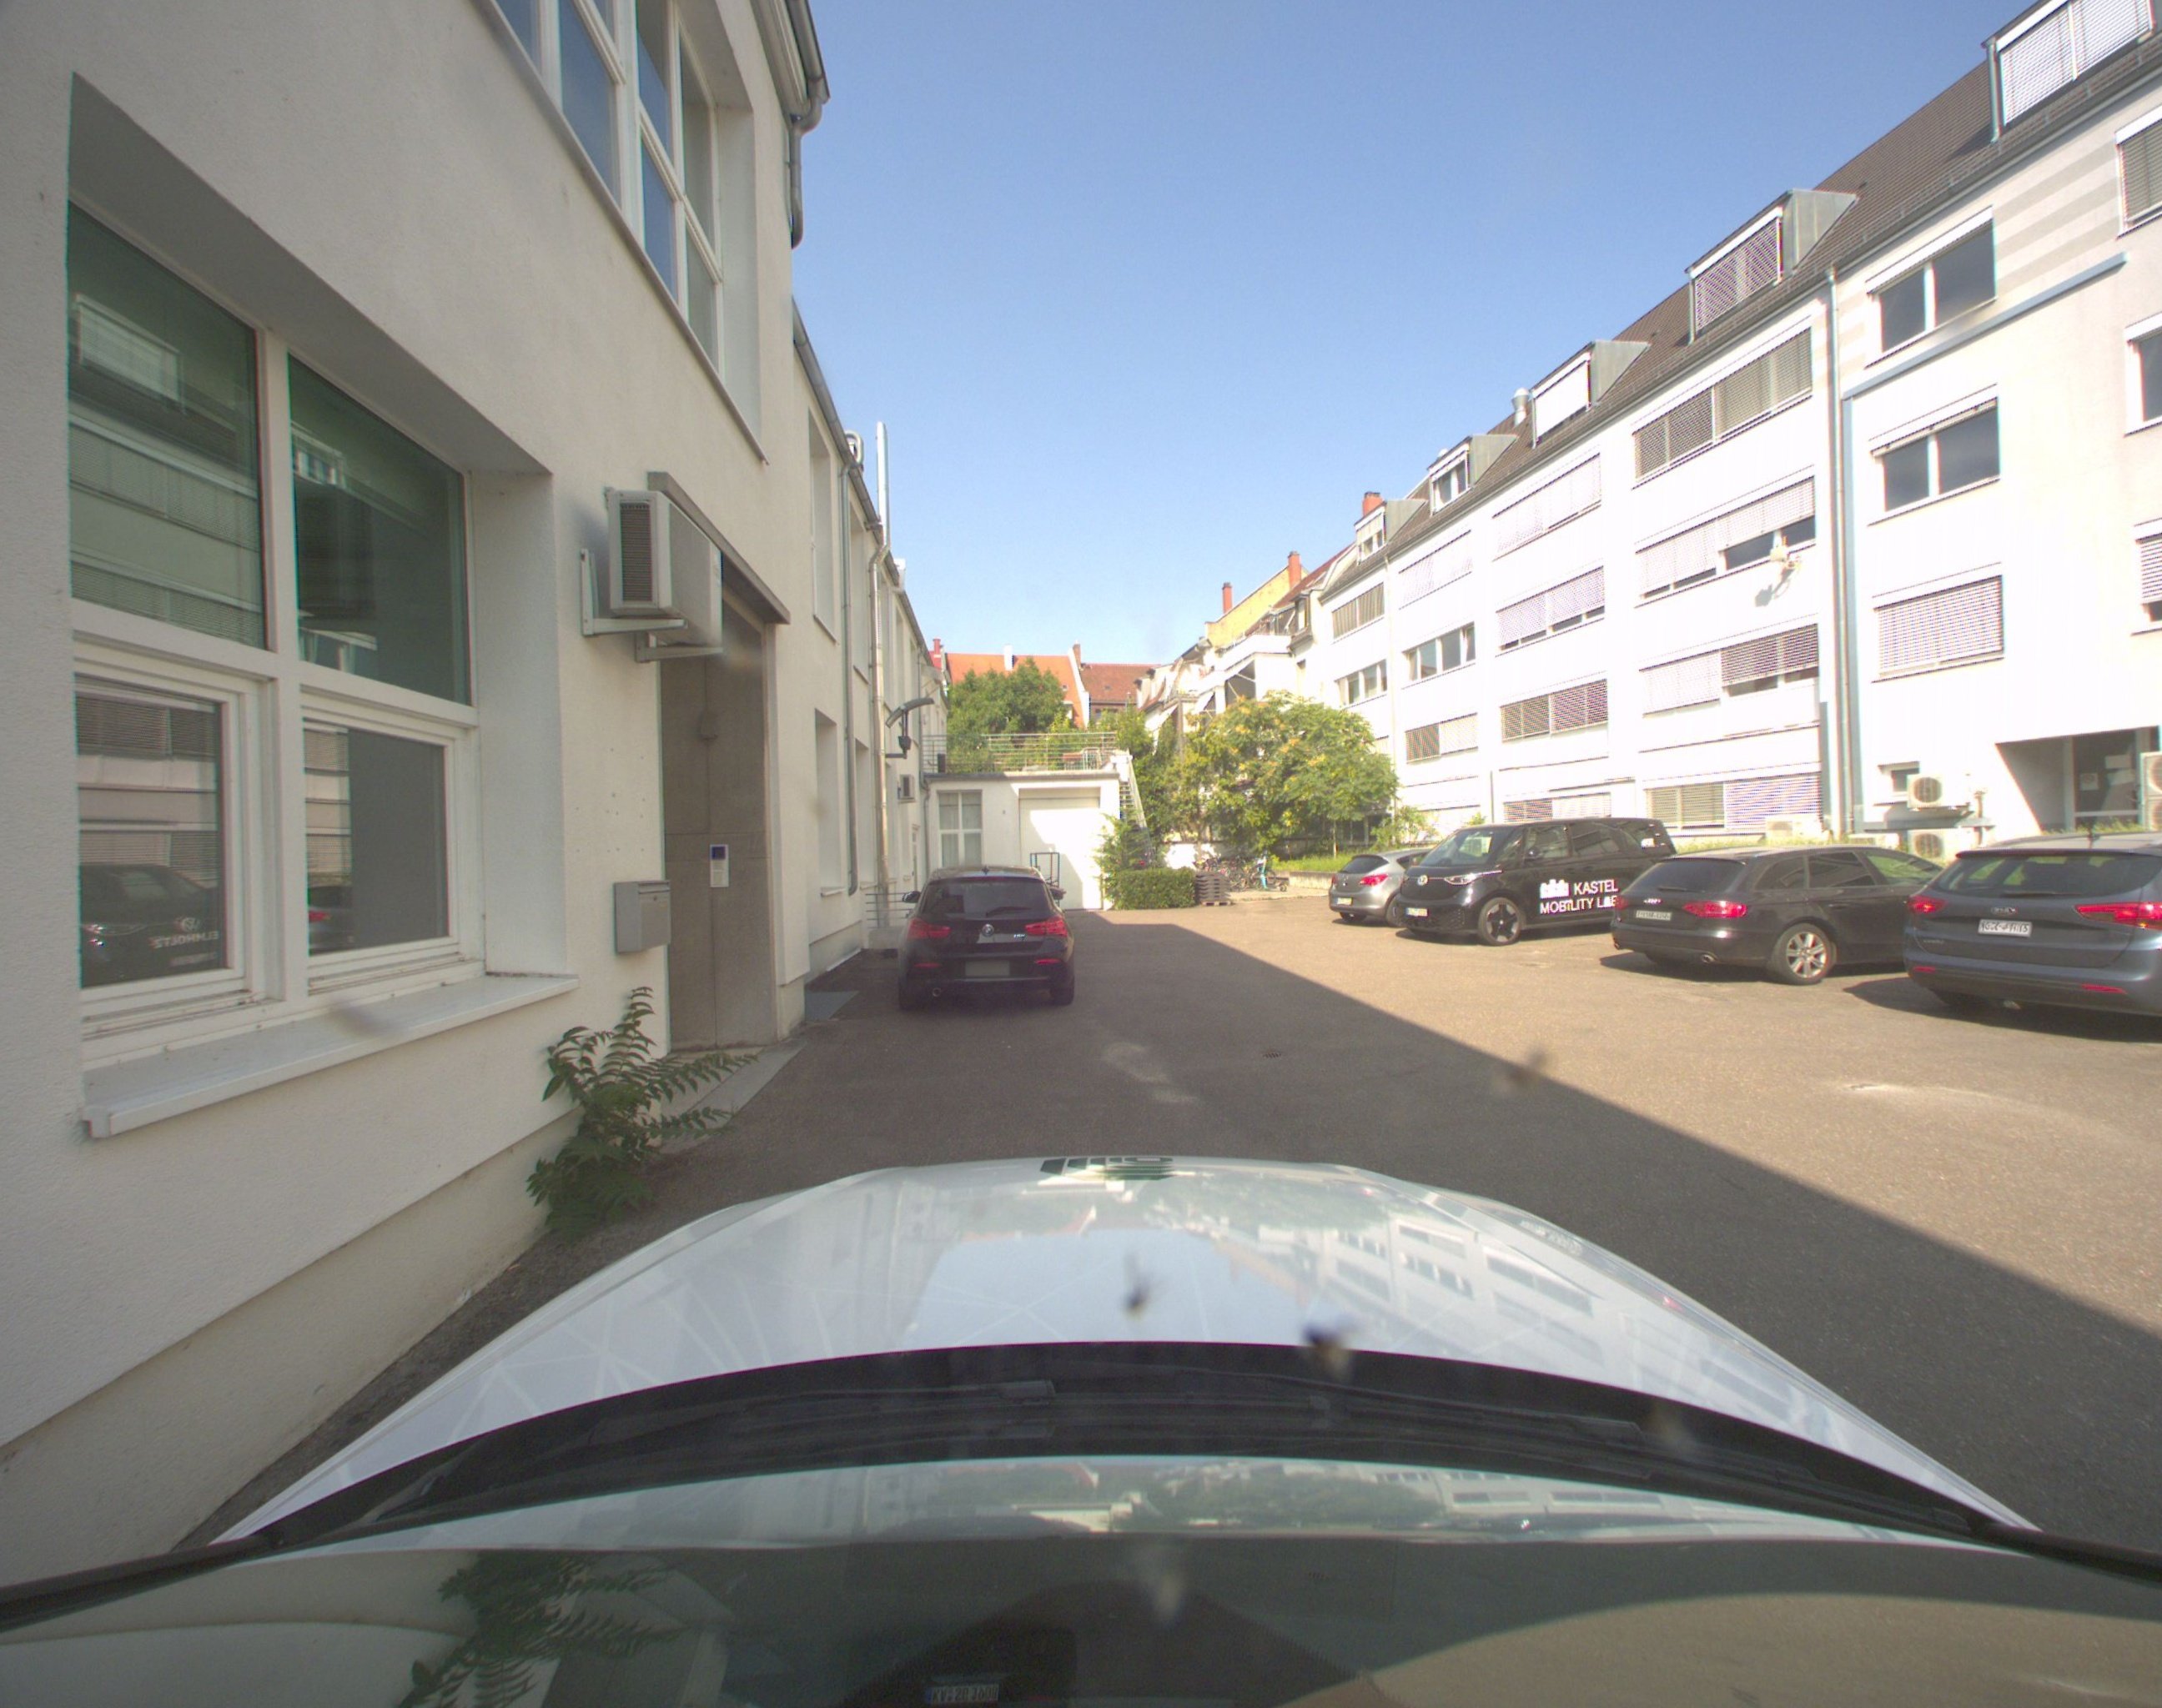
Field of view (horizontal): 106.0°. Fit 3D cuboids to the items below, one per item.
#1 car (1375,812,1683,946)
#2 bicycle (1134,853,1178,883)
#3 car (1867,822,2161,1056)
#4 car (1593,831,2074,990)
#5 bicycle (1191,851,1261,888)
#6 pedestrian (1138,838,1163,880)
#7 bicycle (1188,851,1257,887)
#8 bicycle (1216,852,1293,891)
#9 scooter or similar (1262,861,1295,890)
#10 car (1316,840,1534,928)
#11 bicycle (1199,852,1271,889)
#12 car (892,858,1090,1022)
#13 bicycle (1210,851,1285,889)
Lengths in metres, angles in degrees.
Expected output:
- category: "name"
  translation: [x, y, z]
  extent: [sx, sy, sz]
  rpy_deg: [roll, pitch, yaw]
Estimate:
- category: "car"
  translation: [7.338, 0.332, 13.463]
  extent: [4.343, 1.859, 1.905]
  rpy_deg: [-2, 0, -15]
- category: "bicycle"
  translation: [3.170, 0.570, 34.317]
  extent: [2.003, 1.143, 0.484]
  rpy_deg: [-3, 1, -37]
- category: "car"
  translation: [8.892, 0.497, 6.497]
  extent: [4.047, 1.478, 1.736]
  rpy_deg: [-2, 0, -11]
- category: "car"
  translation: [8.365, 0.549, 9.231]
  extent: [4.229, 1.437, 1.686]
  rpy_deg: [-2, 0, -8]
- category: "bicycle"
  translation: [5.173, 0.540, 29.041]
  extent: [2.408, 1.246, 0.525]
  rpy_deg: [-1, 0, -6]
- category: "pedestrian"
  translation: [2.919, 0.207, 34.404]
  extent: [0.614, 1.771, 0.851]
  rpy_deg: [-1, 0, -37]
- category: "bicycle"
  translation: [5.148, 0.542, 29.677]
  extent: [2.408, 1.246, 0.525]
  rpy_deg: [-1, 0, -6]
- category: "bicycle"
  translation: [5.736, 0.568, 26.955]
  extent: [2.408, 1.246, 0.525]
  rpy_deg: [-1, 0, -6]
- category: "scooter or similar"
  translation: [6.433, 0.698, 26.564]
  extent: [0.362, 0.924, 0.987]
  rpy_deg: [-1, 0, -43]
- category: "car"
  translation: [6.865, 0.541, 16.313]
  extent: [3.908, 1.466, 1.652]
  rpy_deg: [-2, 1, -19]
- category: "bicycle"
  translation: [5.350, 0.567, 28.337]
  extent: [2.408, 1.246, 0.525]
  rpy_deg: [-1, 0, -6]
- category: "car"
  translation: [-1.096, 0.789, 9.559]
  extent: [1.792, 1.428, 4.125]
  rpy_deg: [-1, 0, -8]
- category: "bicycle"
  translation: [5.638, 0.537, 27.593]
  extent: [2.408, 1.246, 0.525]
  rpy_deg: [-1, 0, -6]
